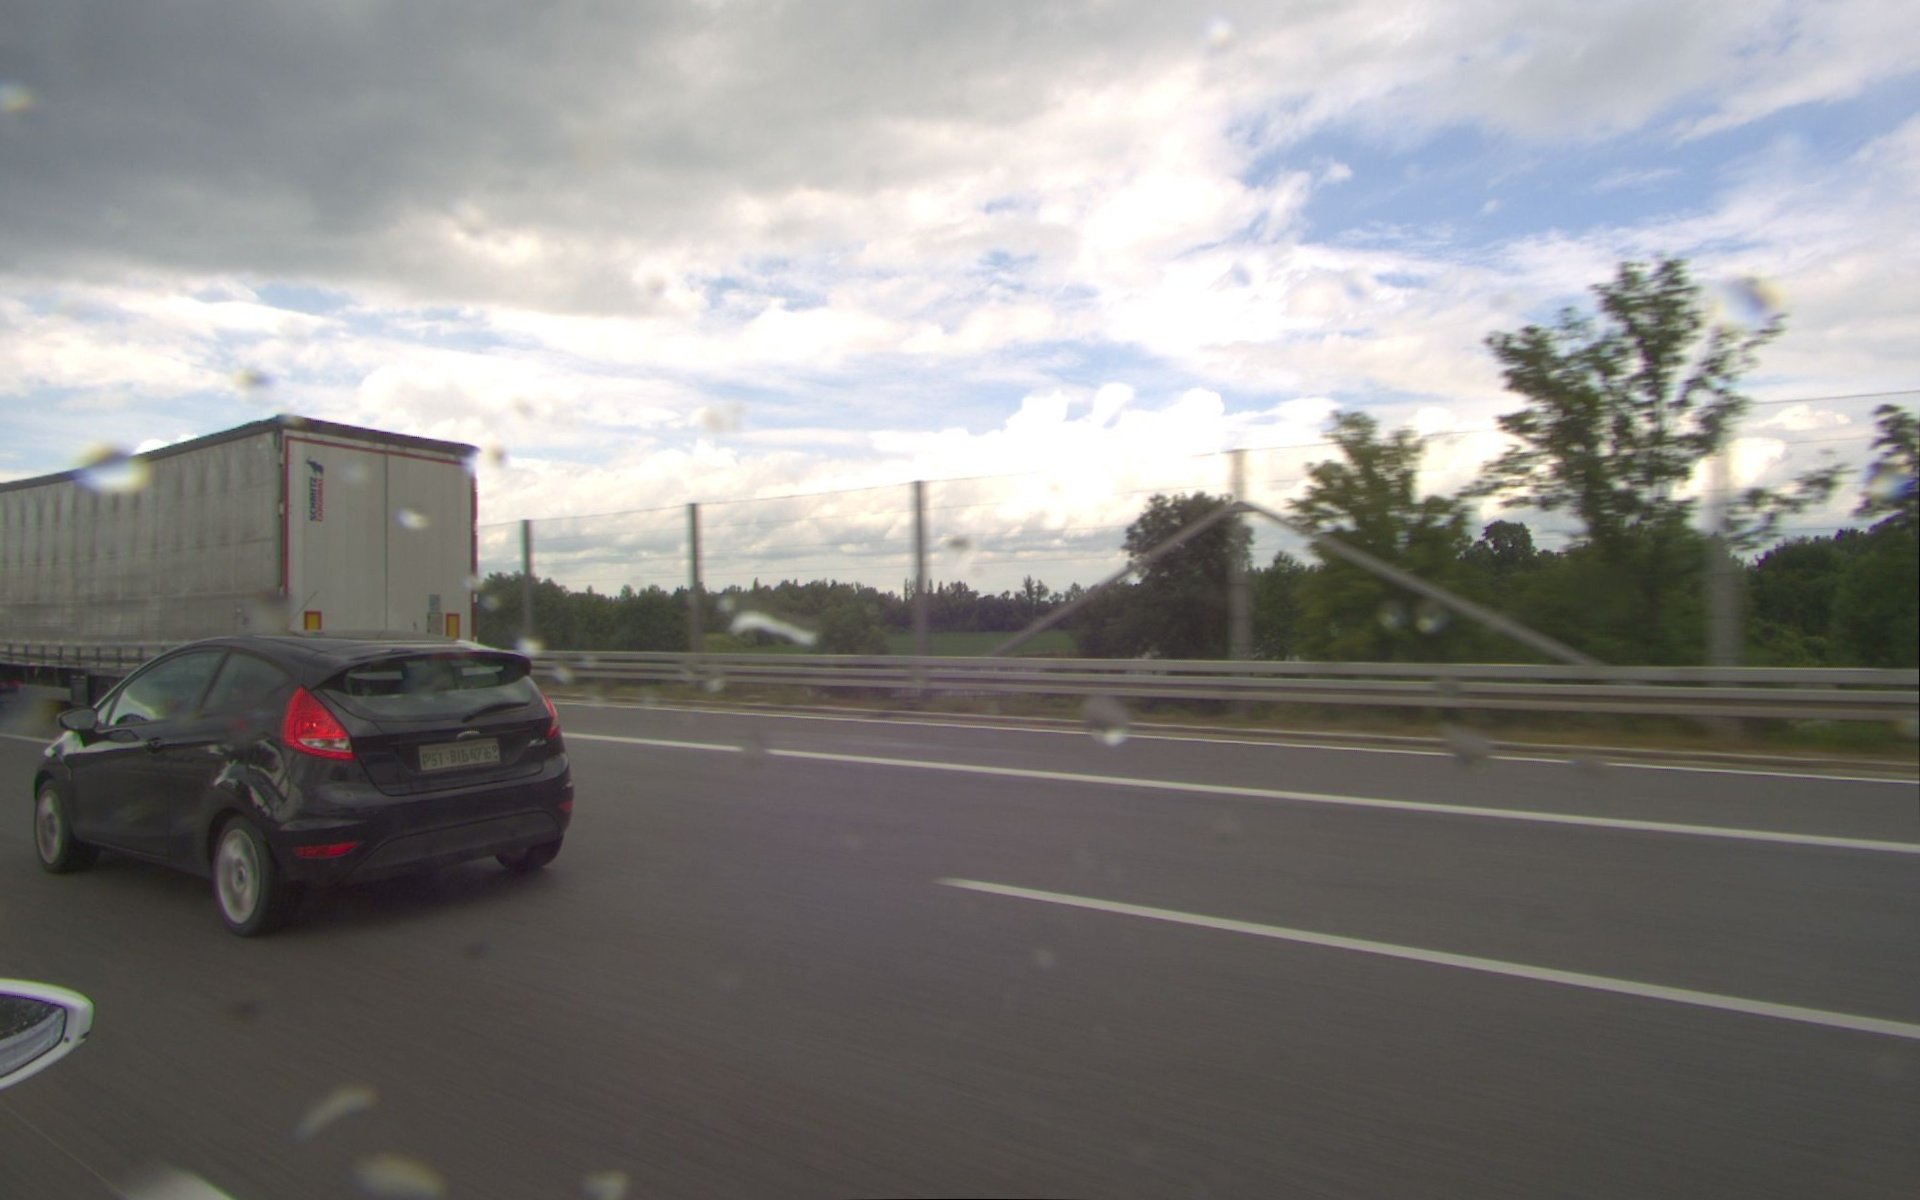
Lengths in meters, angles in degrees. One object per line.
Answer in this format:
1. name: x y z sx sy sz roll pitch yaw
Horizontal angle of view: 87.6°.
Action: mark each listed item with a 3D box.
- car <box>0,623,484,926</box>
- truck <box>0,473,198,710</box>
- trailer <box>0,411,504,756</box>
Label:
1. car: -4.587 0.876 6.301 3.118 1.460 1.444 -1 -1 32
2. truck: -18.506 -0.100 20.178 6.494 4.072 2.956 0 -1 32
3. trailer: -13.189 -0.122 16.823 13.915 4.072 2.956 0 -1 32
